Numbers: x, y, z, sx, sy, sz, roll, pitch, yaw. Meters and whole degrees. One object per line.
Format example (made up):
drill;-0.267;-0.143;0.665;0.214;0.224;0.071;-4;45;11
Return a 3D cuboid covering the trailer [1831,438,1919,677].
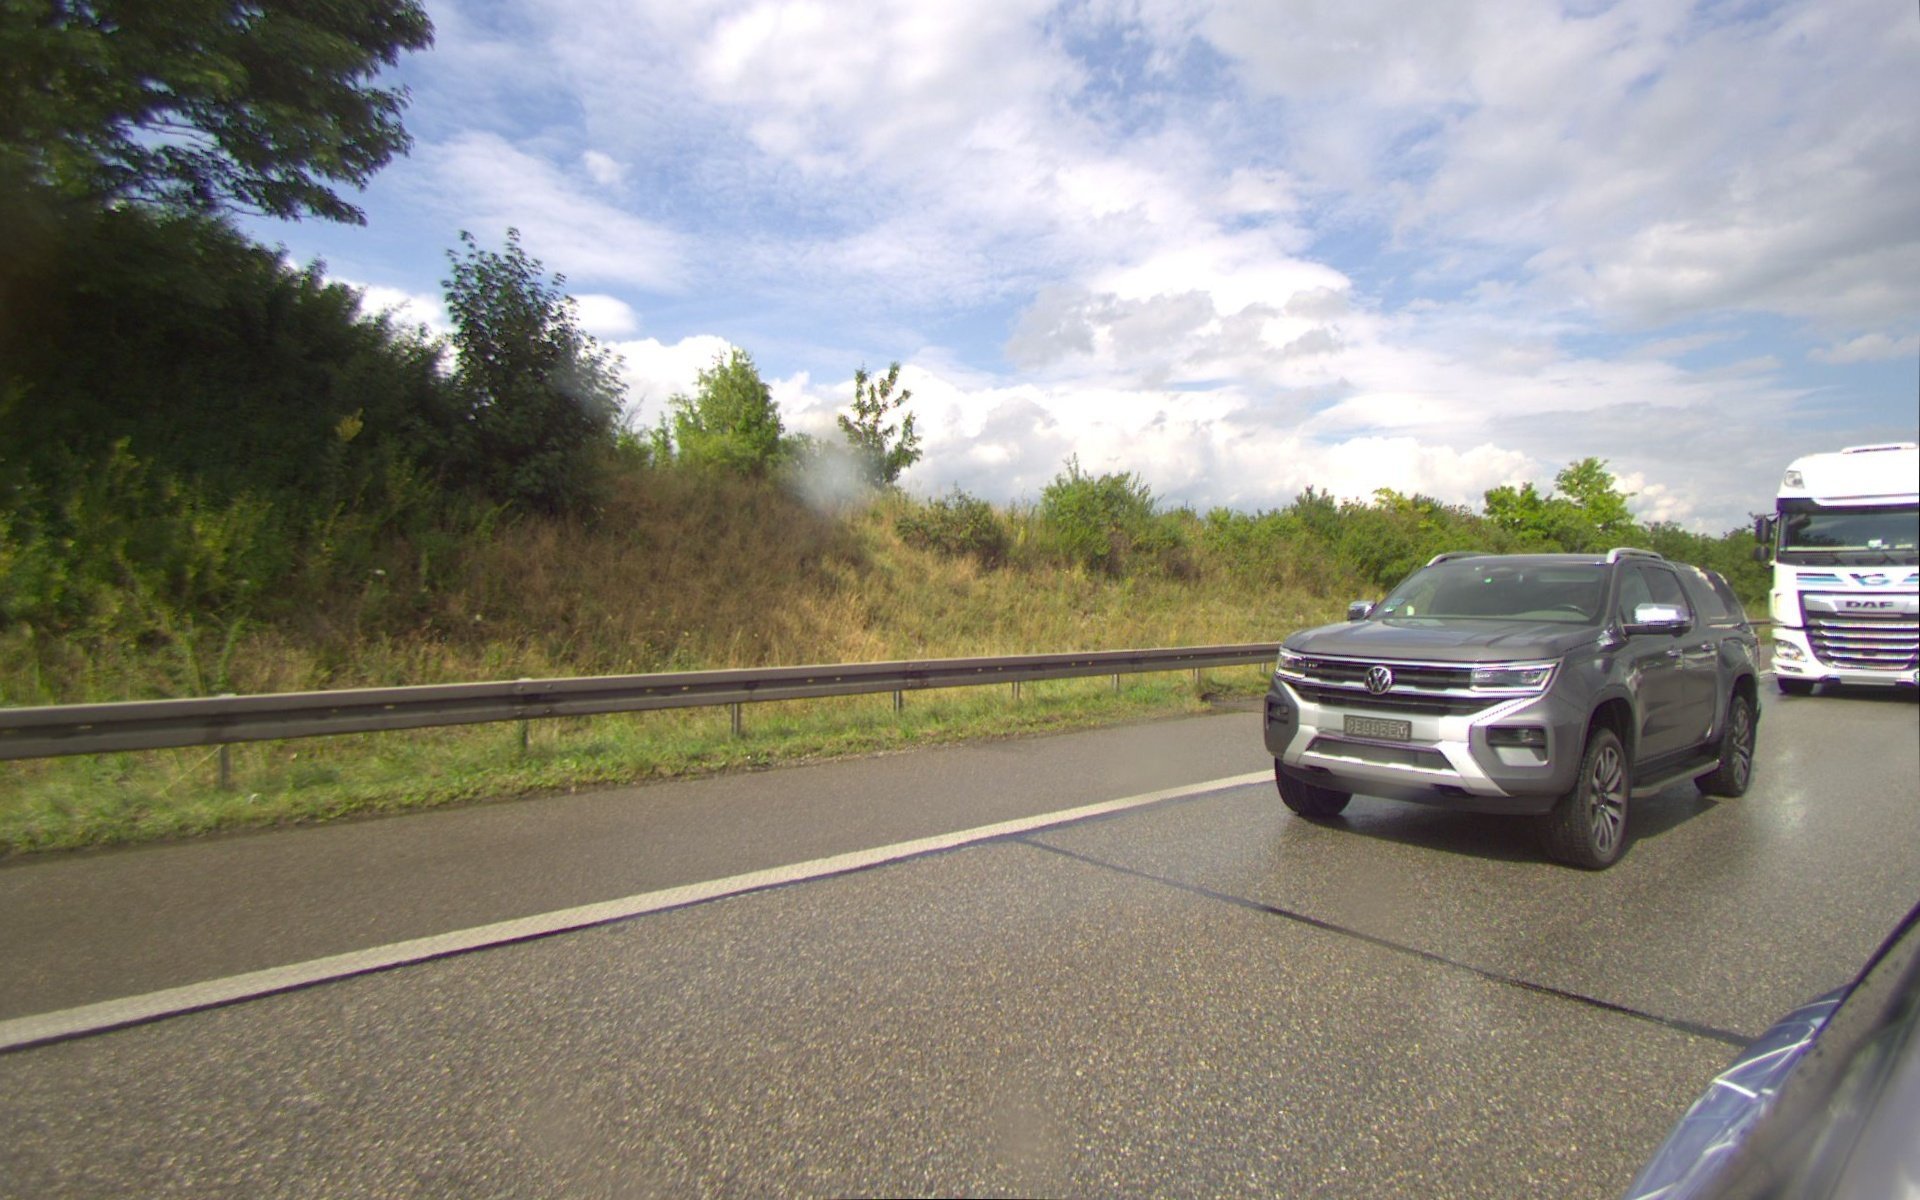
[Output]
trailer;21.370;-0.776;21.600;12.001;4.171;2.449;0;0;-41

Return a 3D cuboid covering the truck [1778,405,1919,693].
truck;15.580;-0.738;16.608;5.238;4.156;2.458;0;0;-41

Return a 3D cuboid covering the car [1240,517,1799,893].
car;4.314;0.489;7.309;5.212;1.826;1.830;0;1;-41
